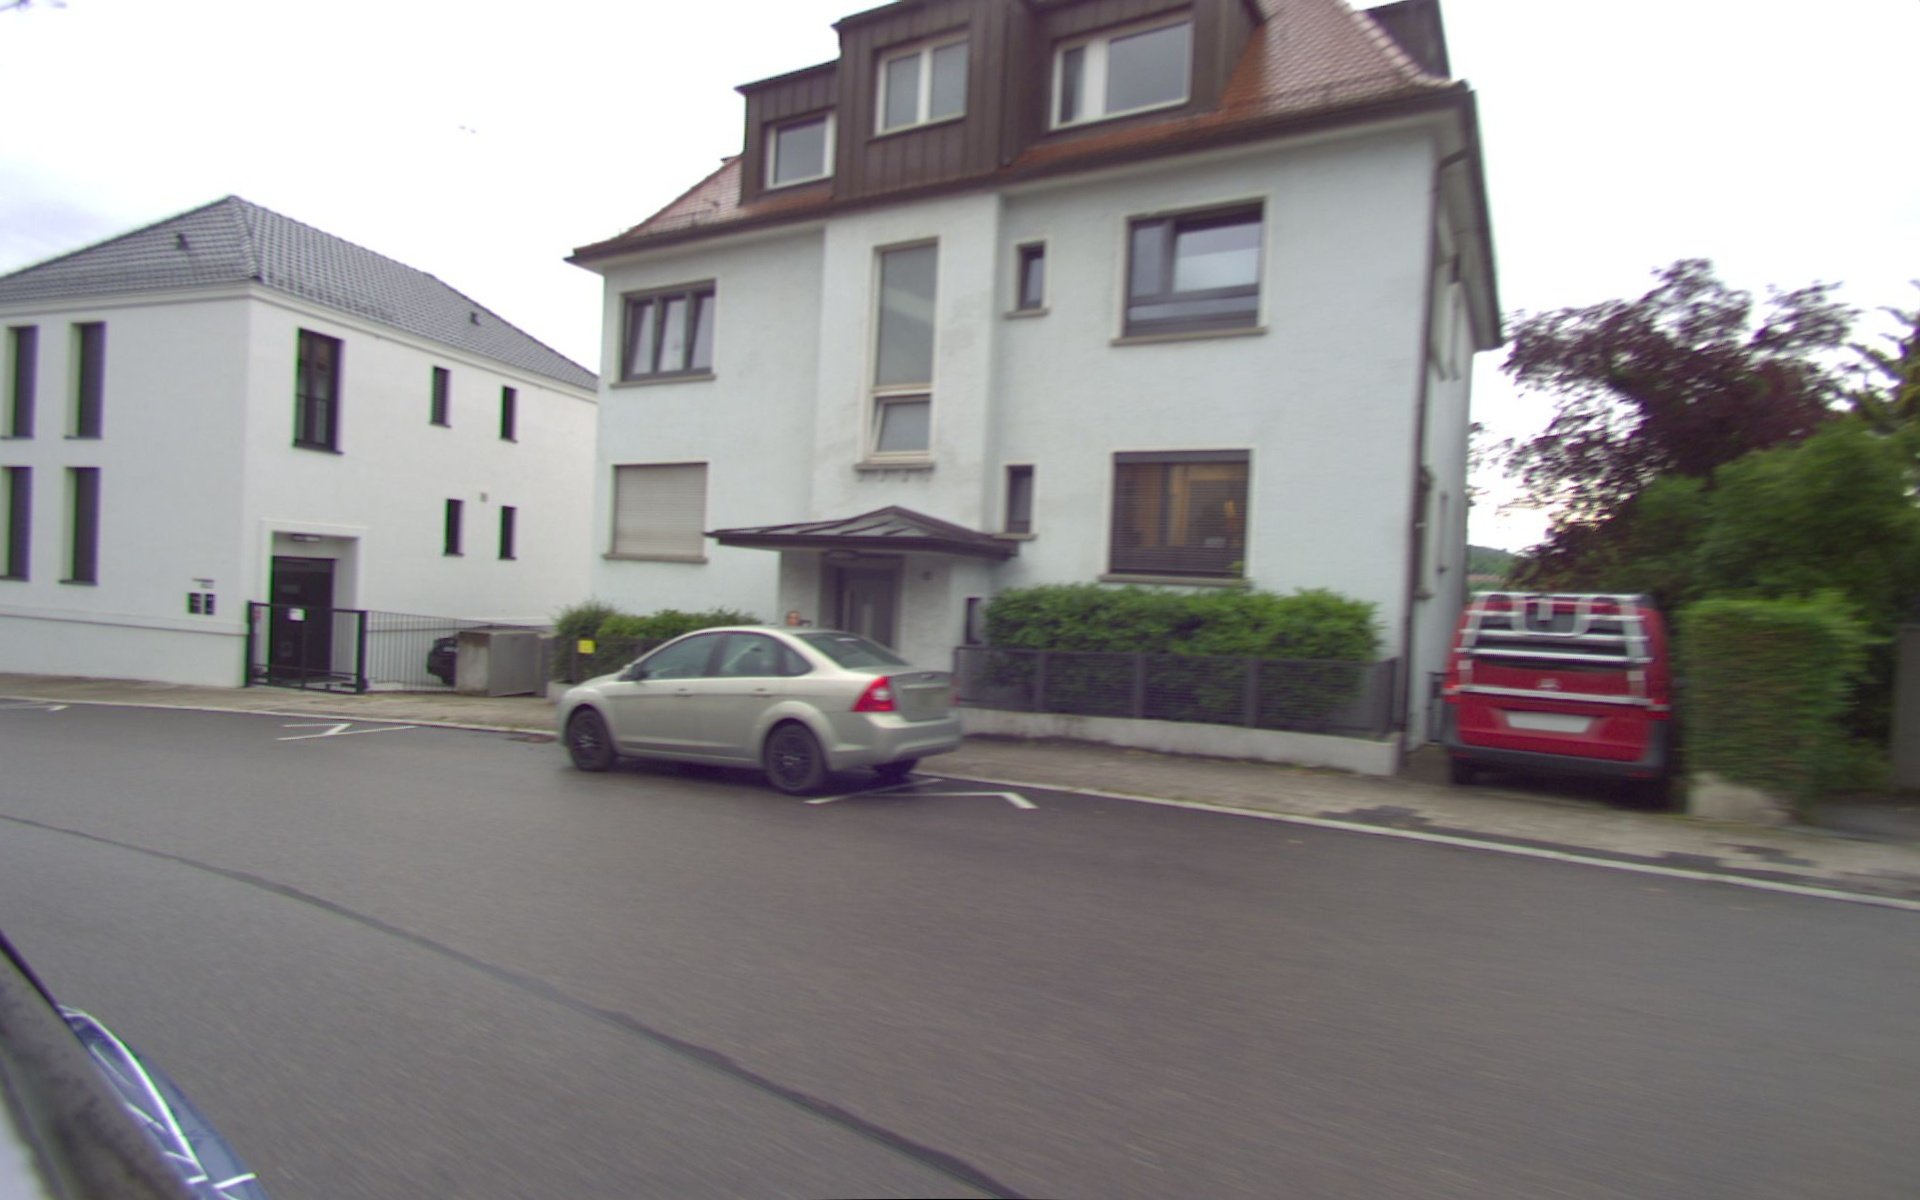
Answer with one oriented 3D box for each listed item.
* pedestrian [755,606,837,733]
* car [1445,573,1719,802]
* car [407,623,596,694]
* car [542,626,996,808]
[{"bbox_3d":[-2.085,0.872,12.915,0.935,1.589,0.494,-1,0,2],"label":"pedestrian"},{"bbox_3d":[6.397,0.875,10.346,1.995,1.837,3.952,-1,-5,35],"label":"car"},{"bbox_3d":[-10.487,1.415,23.512,1.727,1.363,3.977,2,-5,17],"label":"car"},{"bbox_3d":[-1.924,0.983,9.938,4.212,1.436,1.823,-1,-2,30],"label":"car"}]
